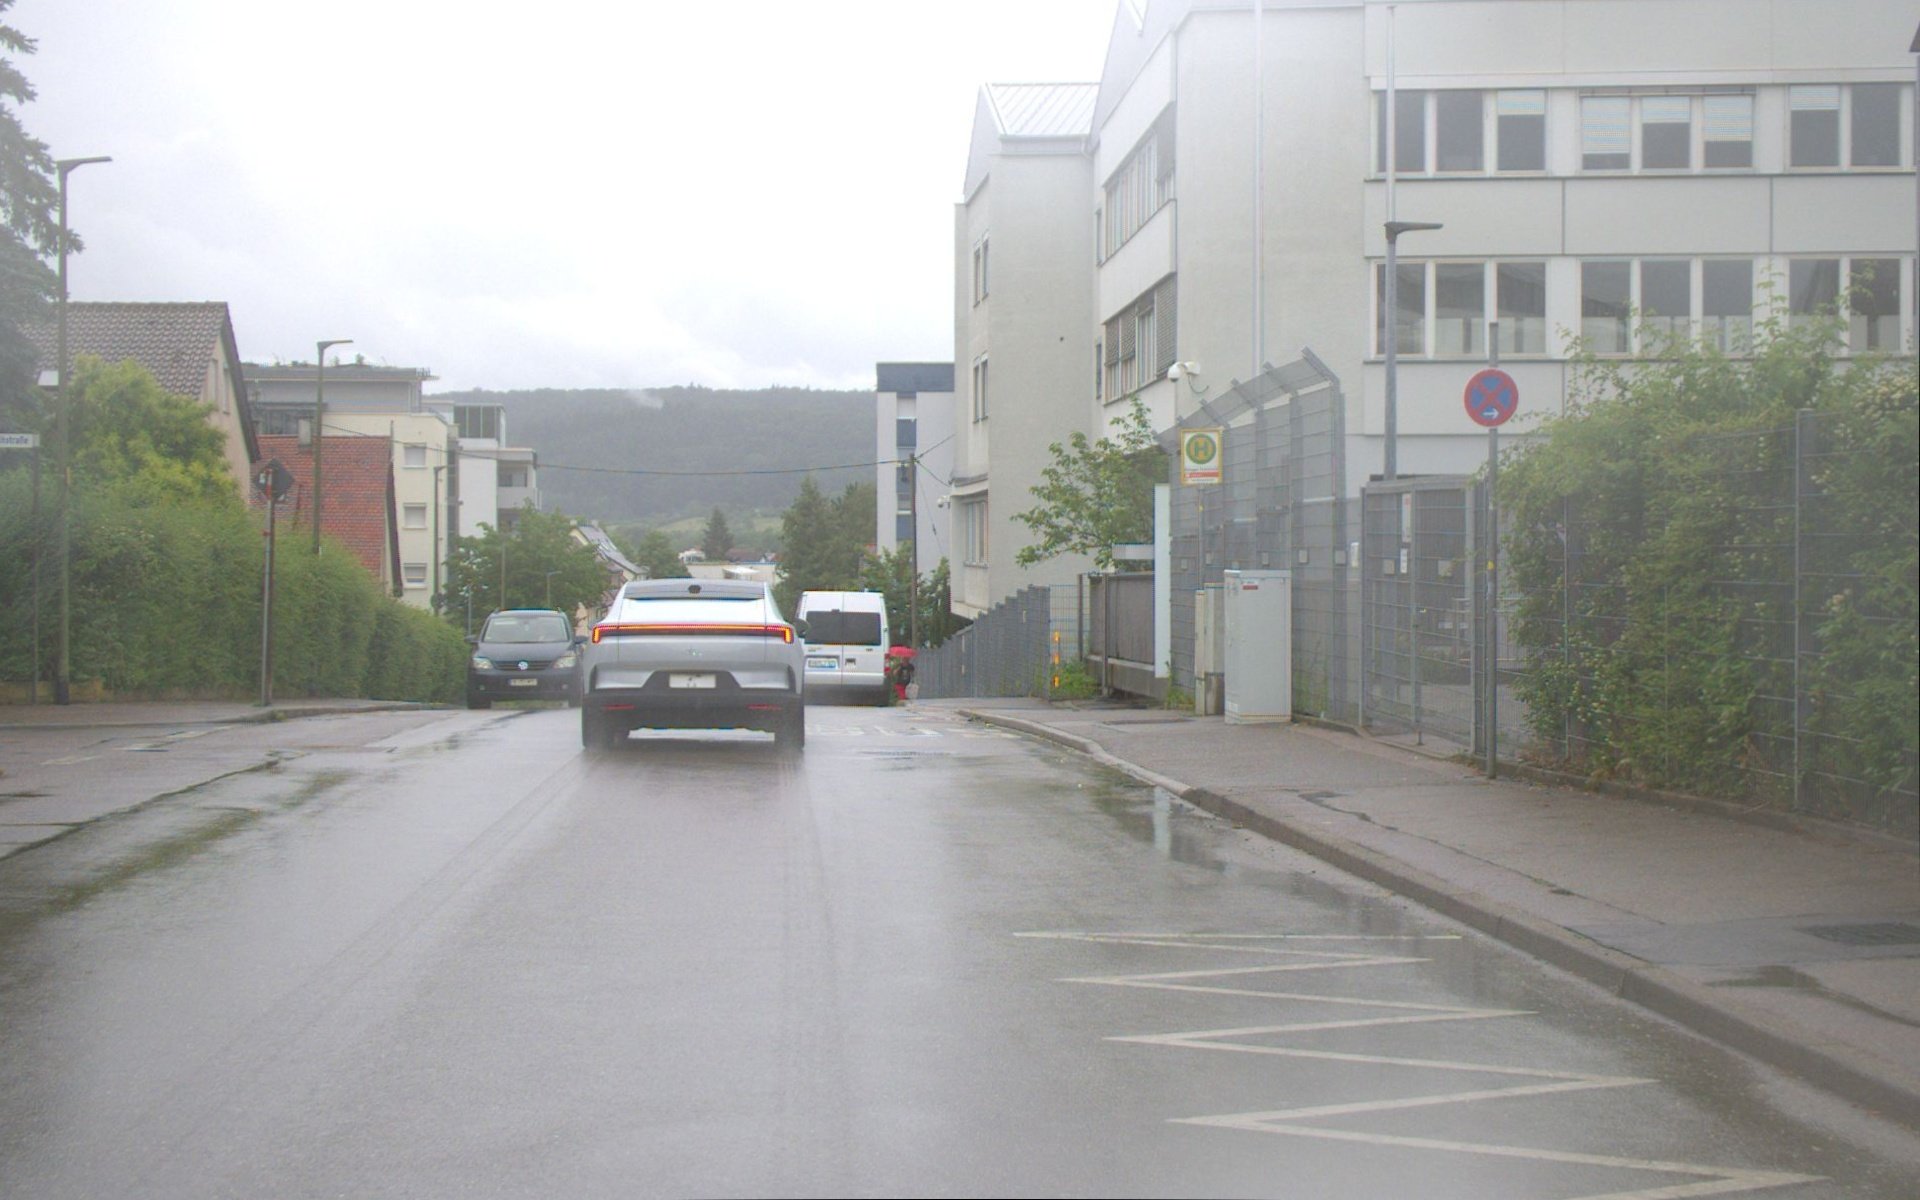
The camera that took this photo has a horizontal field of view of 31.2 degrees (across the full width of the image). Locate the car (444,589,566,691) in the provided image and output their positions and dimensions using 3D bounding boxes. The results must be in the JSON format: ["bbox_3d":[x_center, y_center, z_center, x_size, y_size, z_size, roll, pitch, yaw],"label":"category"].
[{"bbox_3d":[-7.054,0.597,53.579,1.675,1.522,4.001,0,0,-4],"label":"car"}]

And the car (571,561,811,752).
[{"bbox_3d":[-2.407,0.463,31.778,1.993,1.497,4.671,1,2,-2],"label":"car"}]

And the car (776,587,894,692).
[{"bbox_3d":[-2.532,0.827,68.757,1.993,2.007,4.000,-1,-2,-7],"label":"car"}]
